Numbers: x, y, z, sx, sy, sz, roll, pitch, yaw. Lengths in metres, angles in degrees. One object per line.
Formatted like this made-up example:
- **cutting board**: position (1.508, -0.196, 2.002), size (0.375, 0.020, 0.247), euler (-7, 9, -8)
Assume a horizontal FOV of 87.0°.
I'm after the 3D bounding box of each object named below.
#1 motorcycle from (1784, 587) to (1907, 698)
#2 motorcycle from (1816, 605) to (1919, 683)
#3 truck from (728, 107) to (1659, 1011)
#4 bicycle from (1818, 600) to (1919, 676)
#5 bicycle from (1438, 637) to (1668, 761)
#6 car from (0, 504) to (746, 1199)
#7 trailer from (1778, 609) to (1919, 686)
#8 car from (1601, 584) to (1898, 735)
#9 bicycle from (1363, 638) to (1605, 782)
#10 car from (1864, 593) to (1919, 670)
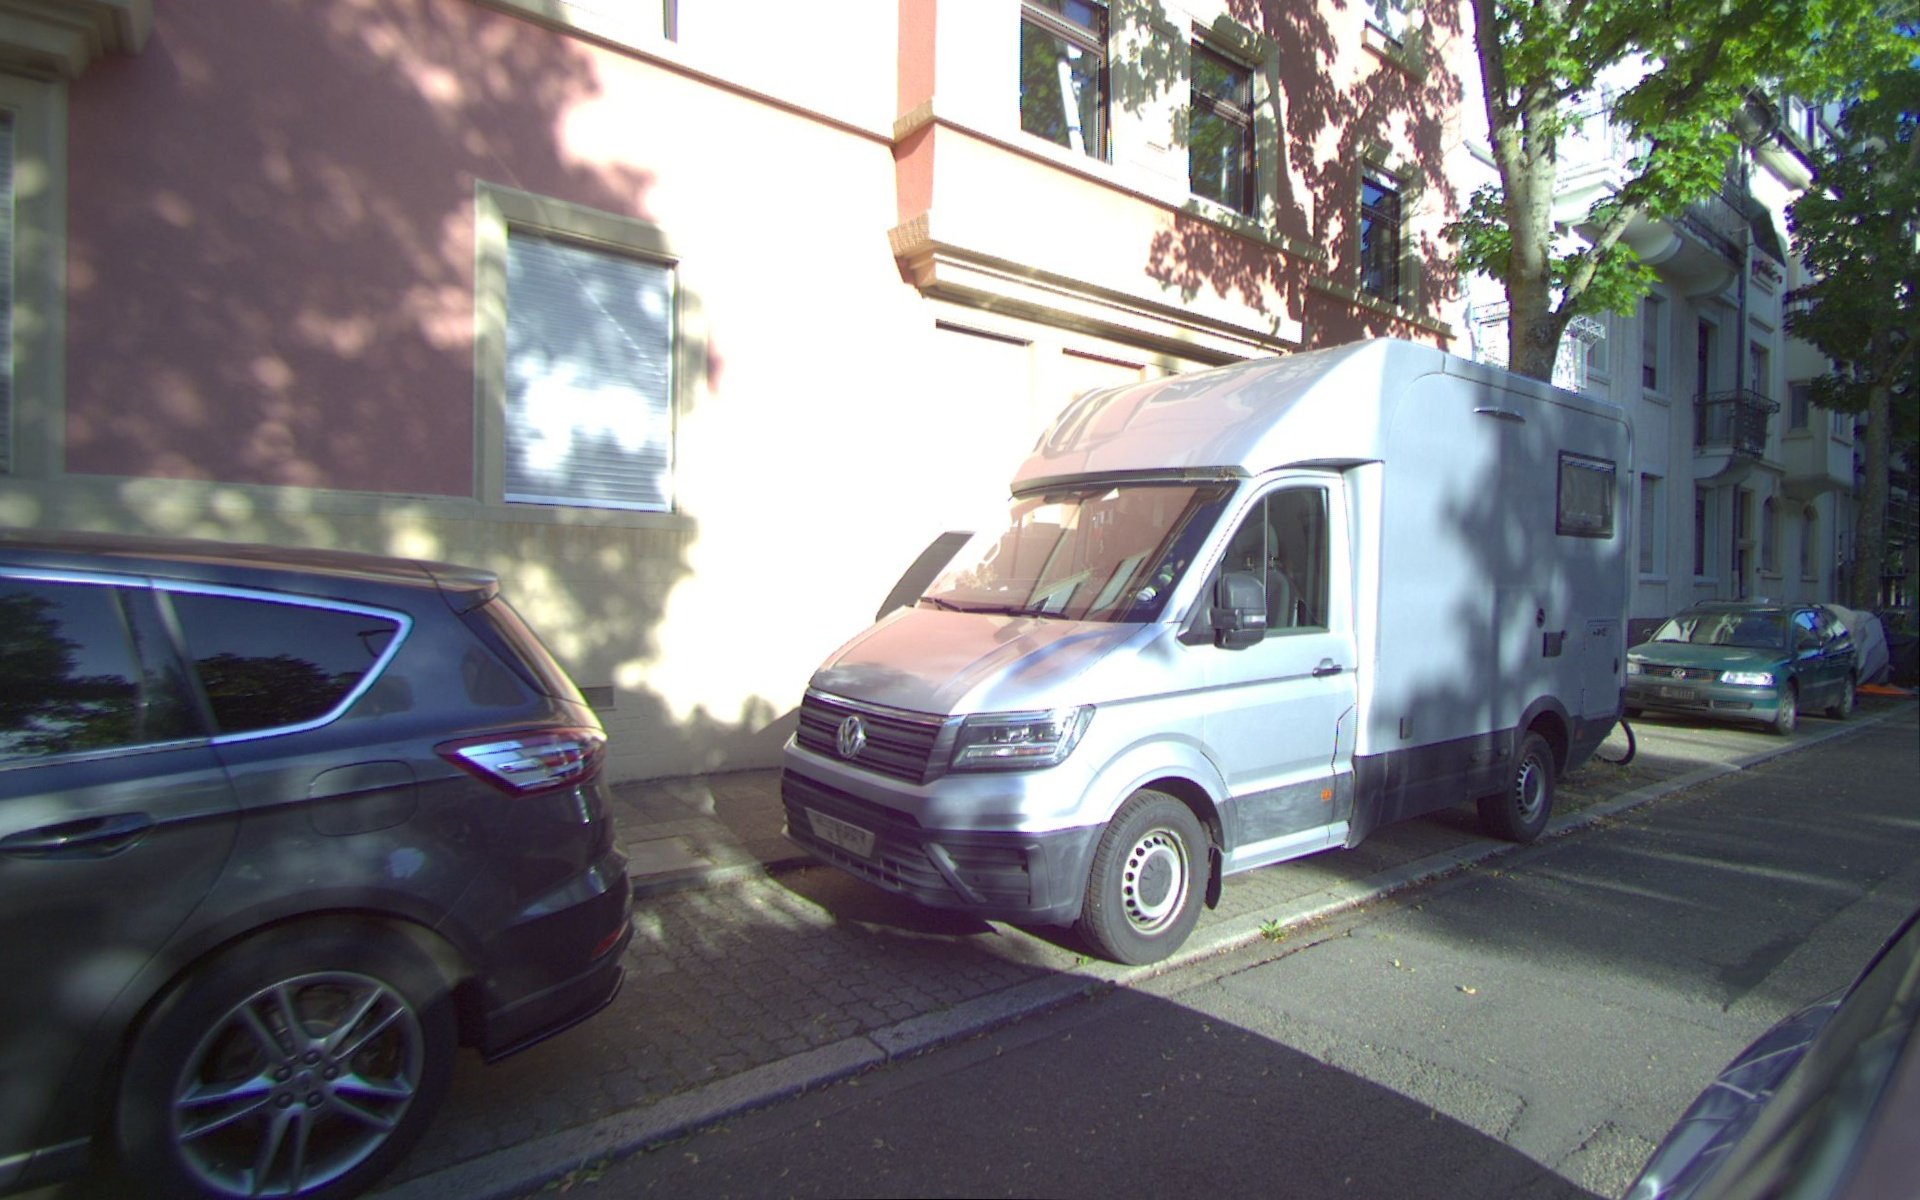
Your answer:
- **motorcycle**: position (12.922, 0.574, 14.747), size (2.098, 1.505, 0.932), euler (0, 0, -37)
- **motorcycle**: position (15.421, 0.718, 16.767), size (1.738, 1.256, 0.699), euler (0, 0, 14)
- **truck**: position (1.867, -0.181, 6.066), size (5.998, 3.004, 2.079), euler (0, 3, -39)
- **bicycle**: position (16.925, 0.679, 18.537), size (0.575, 1.321, 1.763), euler (0, 1, -39)
- **bicycle**: position (5.501, 0.878, 9.504), size (0.568, 0.961, 1.791), euler (0, 1, -35)
- **car**: position (-3.106, 0.660, 2.202), size (4.855, 1.737, 1.890), euler (0, 1, -39)
- **trailer**: position (14.308, 0.719, 16.035), size (2.076, 1.126, 1.100), euler (1, 0, 39)
- **car**: position (10.041, 0.604, 12.739), size (4.692, 1.548, 1.756), euler (0, 2, -37)
- **bicycle**: position (4.418, 0.874, 8.616), size (0.695, 1.012, 1.704), euler (0, 1, -43)
- **car**: position (20.123, 0.621, 20.704), size (4.349, 1.439, 1.685), euler (0, 2, -38)
